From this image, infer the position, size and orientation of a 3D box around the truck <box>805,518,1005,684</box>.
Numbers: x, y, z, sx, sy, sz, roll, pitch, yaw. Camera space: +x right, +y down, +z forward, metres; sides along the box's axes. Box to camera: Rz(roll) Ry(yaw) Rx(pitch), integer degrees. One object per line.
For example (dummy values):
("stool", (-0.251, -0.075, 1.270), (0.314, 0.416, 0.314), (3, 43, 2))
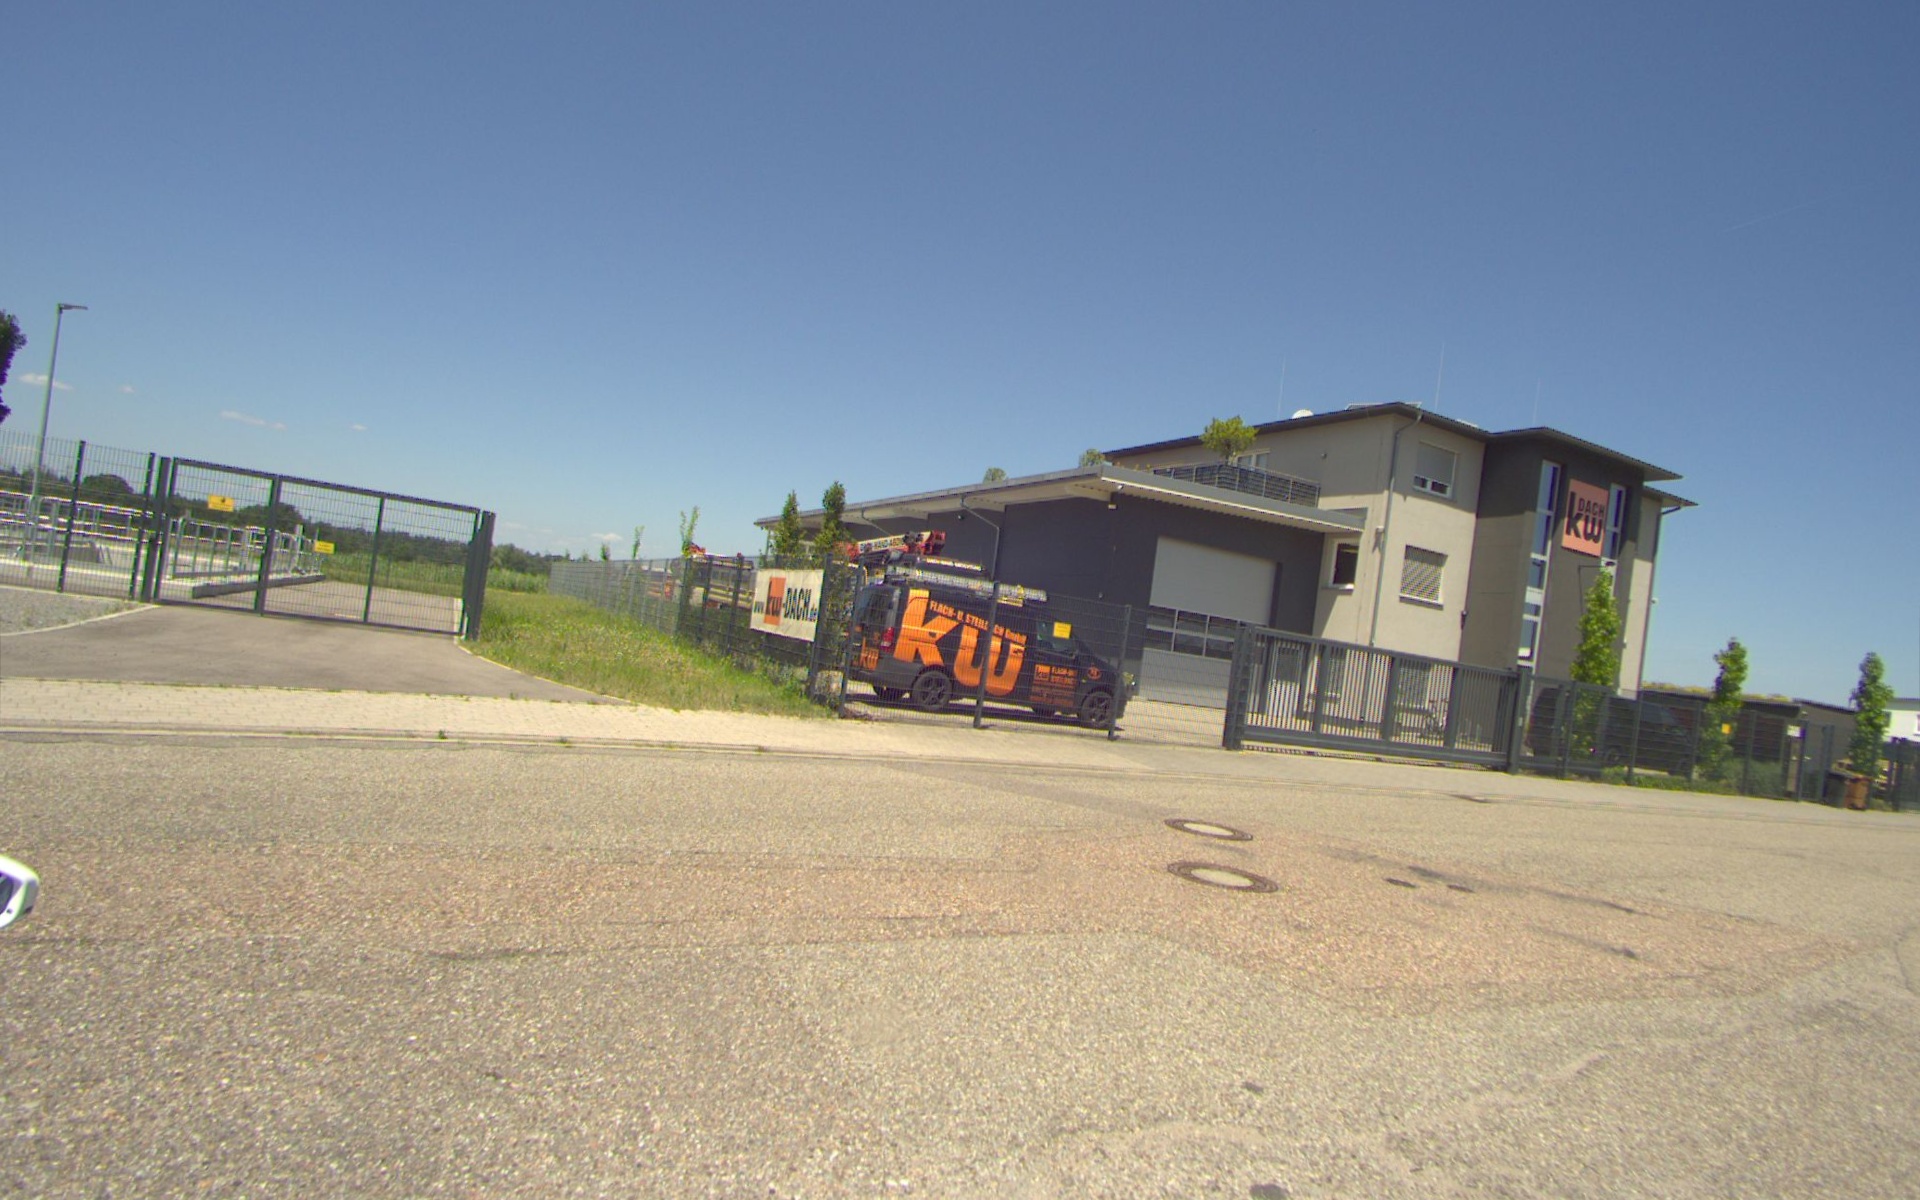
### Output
("truck", (-1.850, -0.017, 29.499), (2.897, 3.974, 6.892), (8, -2, -26))

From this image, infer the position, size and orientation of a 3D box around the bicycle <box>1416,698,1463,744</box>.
("bicycle", (14.068, 3.571, 29.492), (1.795, 1.199, 0.439), (9, -2, -41))

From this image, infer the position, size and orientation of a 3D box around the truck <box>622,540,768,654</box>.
("truck", (-8.772, -0.143, 32.619), (2.897, 2.971, 6.892), (9, -2, -26))

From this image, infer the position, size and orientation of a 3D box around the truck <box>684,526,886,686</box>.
("truck", (-4.549, 0.082, 24.734), (2.704, 3.096, 6.892), (9, -2, -26))

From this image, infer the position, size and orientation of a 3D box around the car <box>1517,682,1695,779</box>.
("car", (16.630, 3.356, 25.893), (3.953, 1.888, 1.988), (9, -2, -26))

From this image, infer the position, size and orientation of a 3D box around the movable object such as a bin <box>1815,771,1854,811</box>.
("movable object such as a bin", (22.828, 4.980, 26.260), (0.431, 0.895, 0.558), (8, -1, -25))

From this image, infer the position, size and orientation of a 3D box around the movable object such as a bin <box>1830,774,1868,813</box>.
("movable object such as a bin", (23.530, 5.114, 26.631), (0.431, 0.895, 0.558), (8, -1, -25))

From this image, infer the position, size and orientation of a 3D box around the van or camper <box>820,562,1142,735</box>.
("van or camper", (0.397, 0.837, 17.064), (4.896, 2.189, 1.987), (9, -1, -27))

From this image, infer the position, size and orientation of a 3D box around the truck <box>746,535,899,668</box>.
("truck", (-5.095, -0.005, 35.977), (2.897, 3.974, 6.892), (8, -2, -26))
